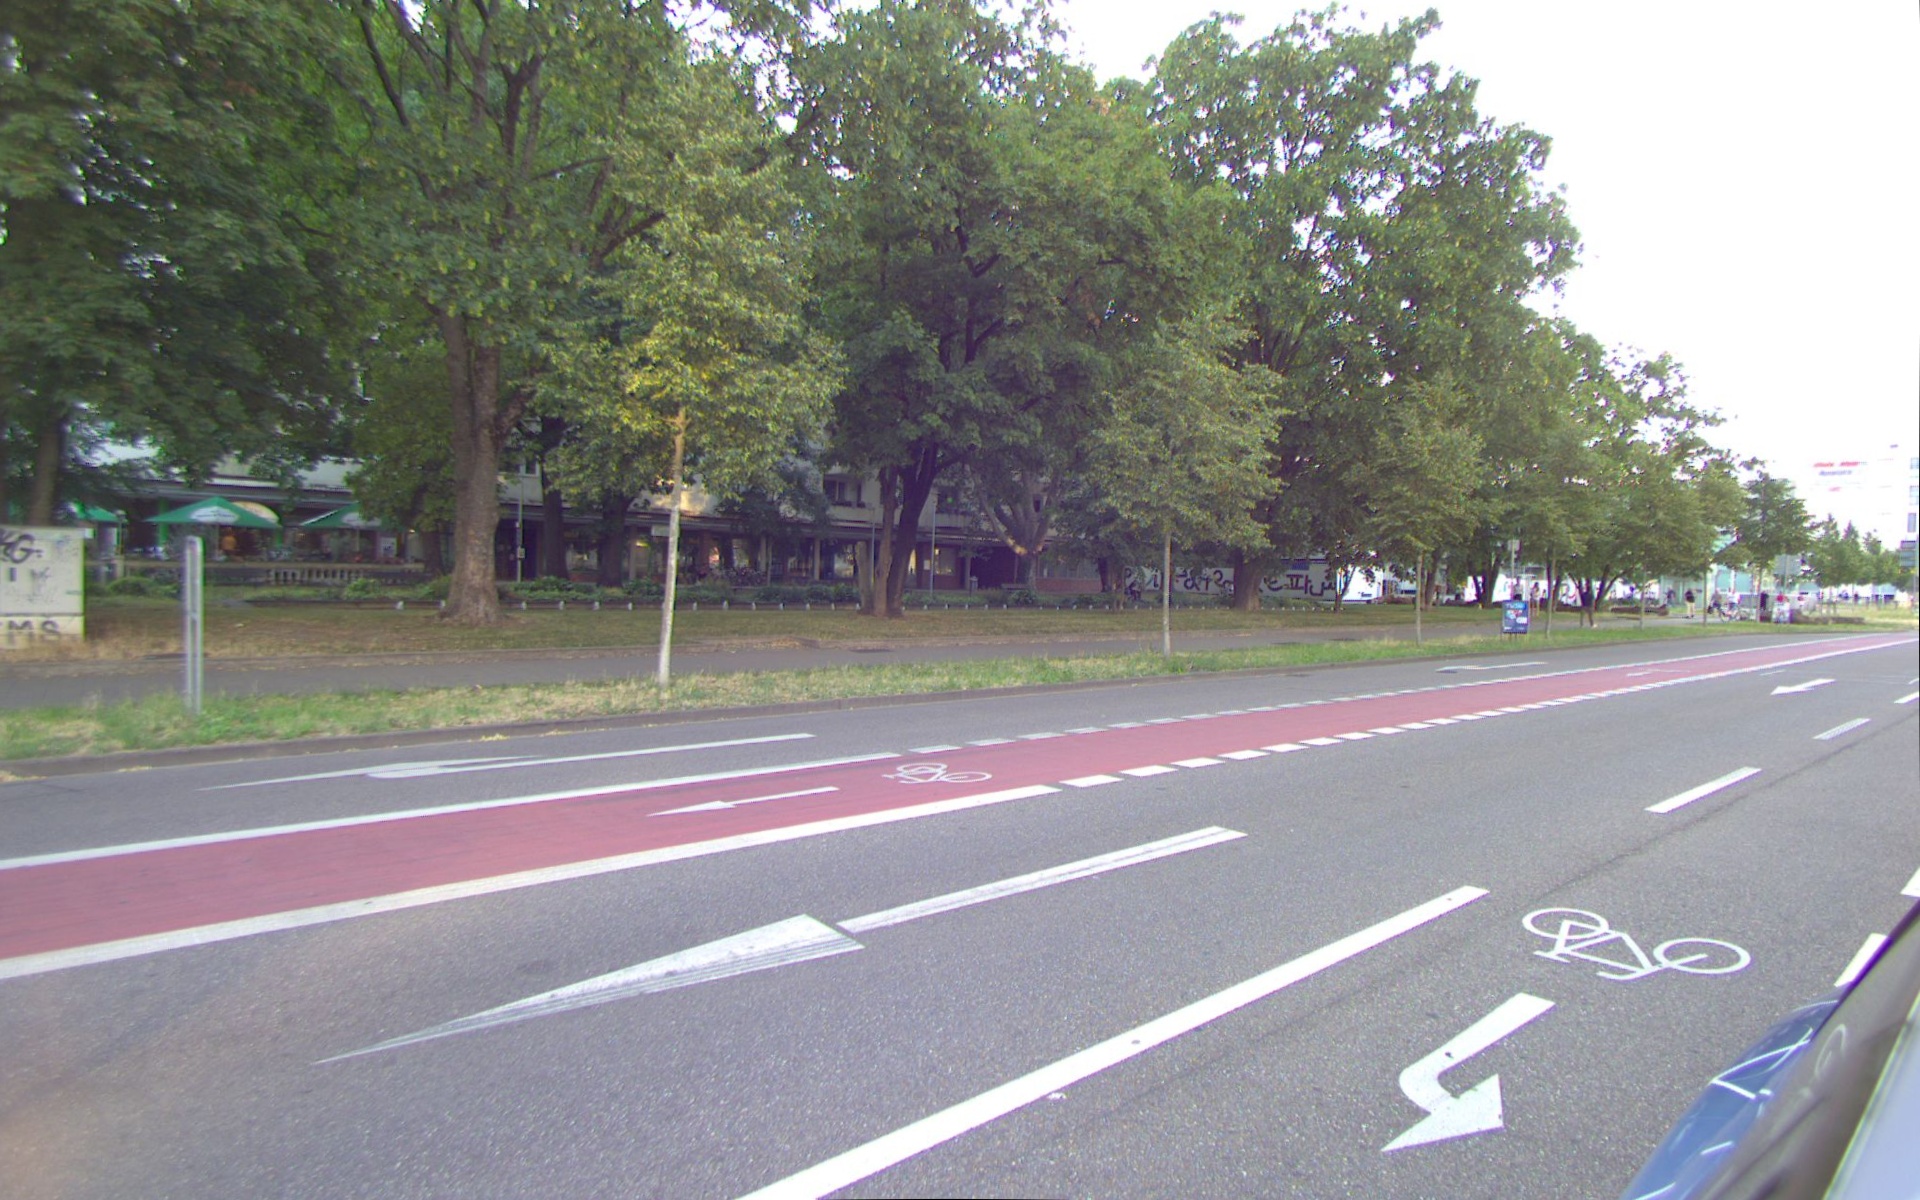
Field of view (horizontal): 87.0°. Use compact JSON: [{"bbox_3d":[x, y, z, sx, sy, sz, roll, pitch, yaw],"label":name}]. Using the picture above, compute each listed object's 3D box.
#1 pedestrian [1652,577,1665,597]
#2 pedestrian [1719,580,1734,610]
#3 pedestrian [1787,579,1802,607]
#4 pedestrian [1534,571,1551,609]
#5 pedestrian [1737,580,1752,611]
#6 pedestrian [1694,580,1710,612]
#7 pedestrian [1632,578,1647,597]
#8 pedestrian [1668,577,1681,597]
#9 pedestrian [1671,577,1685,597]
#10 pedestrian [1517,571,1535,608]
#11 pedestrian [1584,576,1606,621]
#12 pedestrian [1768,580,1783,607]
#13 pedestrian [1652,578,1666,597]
[{"bbox_3d":[49.373,-0.899,71.550,0.759,1.371,0.519,0,2,-41],"label":"pedestrian"},{"bbox_3d":[44.564,-0.290,58.850,0.707,1.751,0.519,0,2,-40],"label":"pedestrian"},{"bbox_3d":[54.052,-0.452,65.541,0.497,1.779,0.638,0,2,-40],"label":"pedestrian"},{"bbox_3d":[25.662,-0.446,44.611,0.359,1.621,0.500,1,2,-40],"label":"pedestrian"},{"bbox_3d":[44.923,-0.272,57.964,0.707,1.751,0.508,0,2,-41],"label":"pedestrian"},{"bbox_3d":[40.784,-0.230,55.643,0.707,1.751,0.508,0,2,-41],"label":"pedestrian"},{"bbox_3d":[49.112,-0.889,73.117,0.604,1.371,0.728,0,2,-40],"label":"pedestrian"},{"bbox_3d":[50.102,-0.897,70.954,0.759,1.371,0.519,0,2,-41],"label":"pedestrian"},{"bbox_3d":[51.115,-0.921,72.012,0.496,1.371,0.654,0,2,-40],"label":"pedestrian"},{"bbox_3d":[24.646,-0.457,44.052,0.513,1.621,0.500,0,2,-41],"label":"pedestrian"},{"bbox_3d":[25.201,-0.070,40.160,0.546,1.760,0.558,0,2,-41],"label":"pedestrian"},{"bbox_3d":[53.533,-0.416,66.438,0.497,1.779,0.638,0,2,-40],"label":"pedestrian"},{"bbox_3d":[50.135,-0.900,72.544,0.550,1.371,0.662,0,2,-40],"label":"pedestrian"}]
